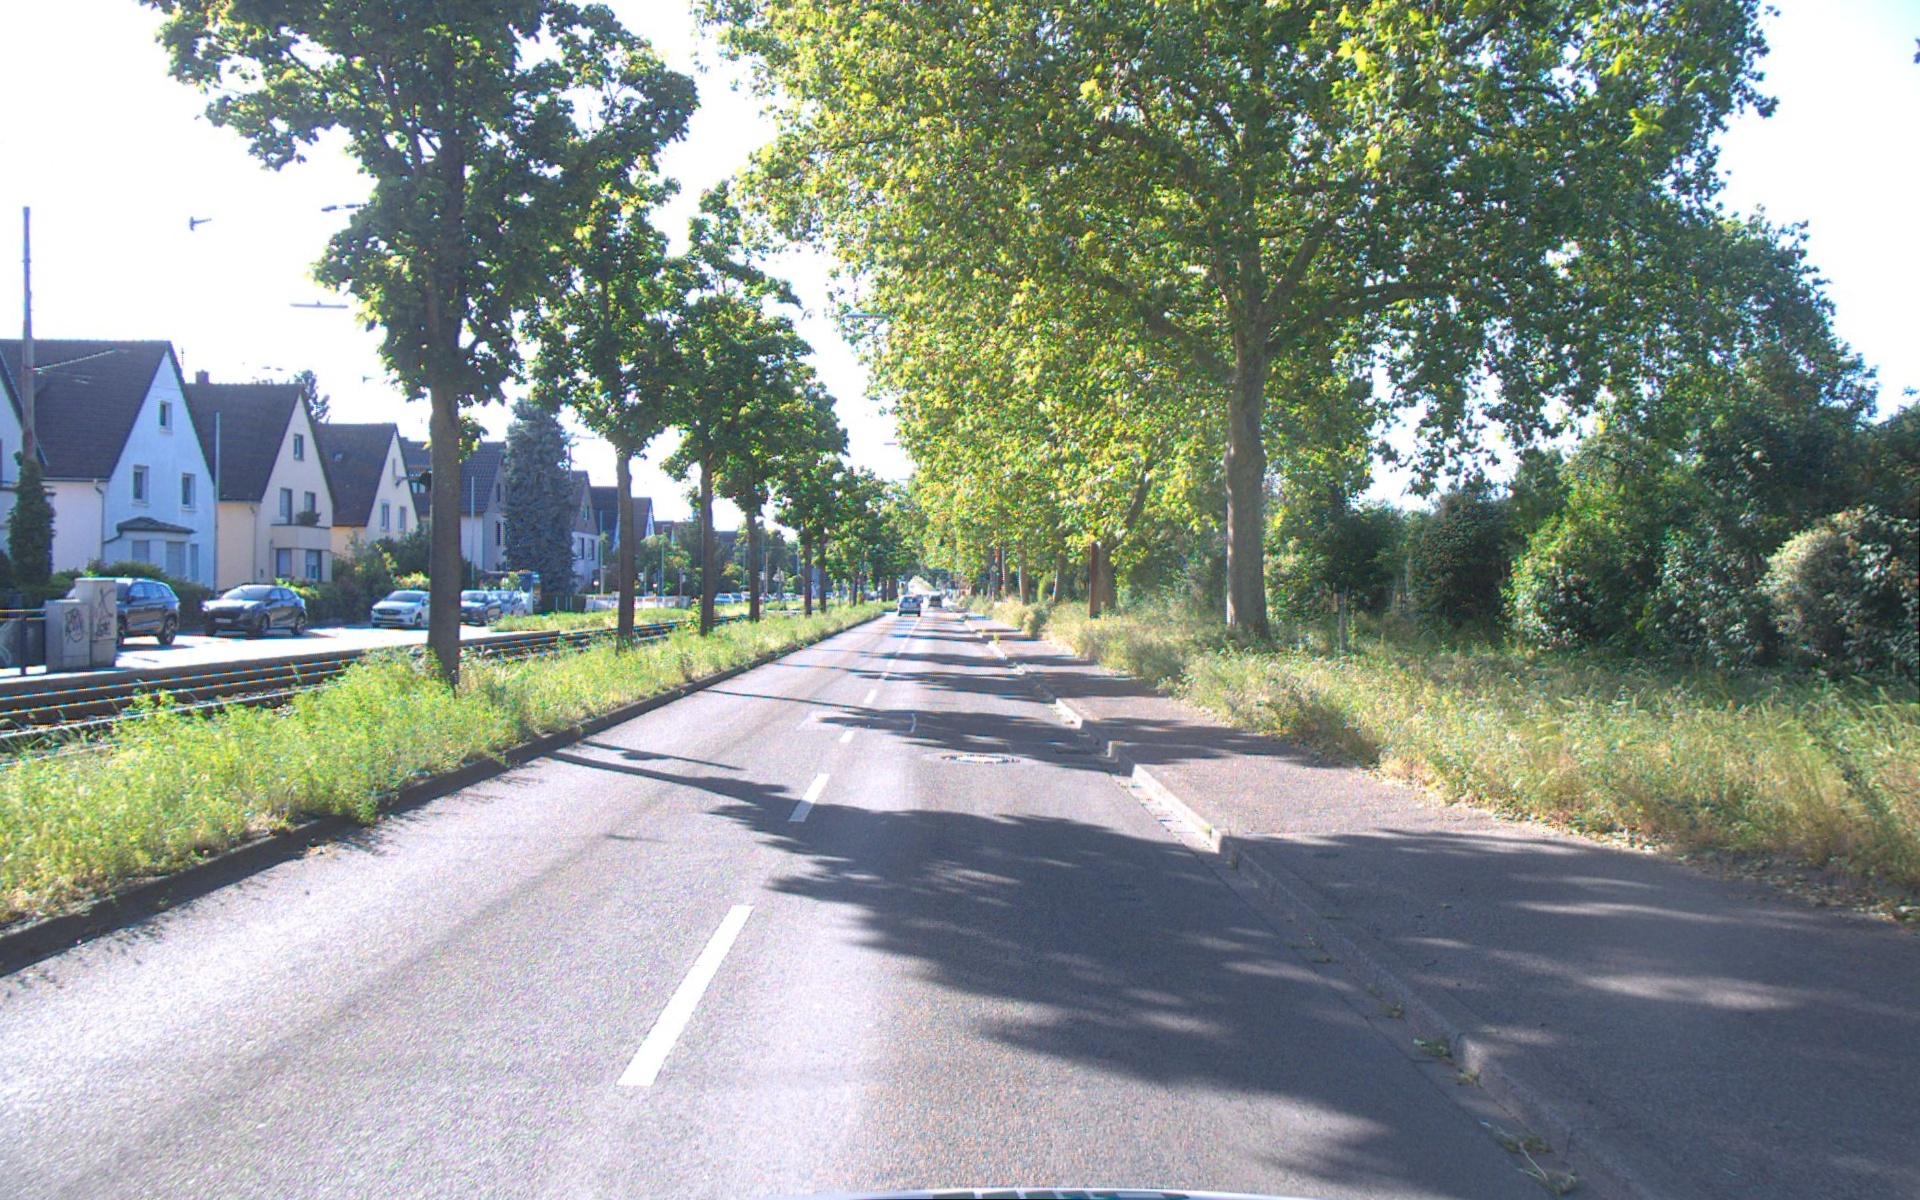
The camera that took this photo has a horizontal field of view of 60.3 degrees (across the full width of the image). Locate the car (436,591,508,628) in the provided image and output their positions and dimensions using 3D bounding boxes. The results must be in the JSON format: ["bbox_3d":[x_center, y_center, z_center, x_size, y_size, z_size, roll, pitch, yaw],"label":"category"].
[{"bbox_3d":[-21.799,0.413,74.078,1.953,1.475,4.127,4,0,-1],"label":"car"}]

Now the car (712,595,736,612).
[{"bbox_3d":[-23.181,0.338,162.618,1.822,1.569,4.226,2,0,-1],"label":"car"}]

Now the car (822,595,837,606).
[{"bbox_3d":[-20.496,0.115,259.606,1.953,1.631,4.472,2,0,-1],"label":"car"}]

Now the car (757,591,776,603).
[{"bbox_3d":[-23.689,-0.353,202.308,1.822,1.393,4.226,2,0,-1],"label":"car"}]

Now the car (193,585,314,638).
[{"bbox_3d":[-21.632,0.345,50.836,1.887,1.521,4.255,2,0,-1],"label":"car"}]

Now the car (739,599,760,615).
[{"bbox_3d":[-23.236,0.785,182.529,1.712,1.679,4.554,2,0,-1],"label":"car"}]

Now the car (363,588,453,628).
[{"bbox_3d":[-21.634,0.307,65.008,1.952,1.451,4.410,2,0,1],"label":"car"}]

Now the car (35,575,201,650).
[{"bbox_3d":[-21.092,0.306,41.659,1.953,1.743,4.390,2,0,-1],"label":"car"}]

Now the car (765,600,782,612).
[{"bbox_3d":[-24.869,0.784,220.750,1.822,1.438,4.157,2,0,-1],"label":"car"}]

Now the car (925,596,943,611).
[{"bbox_3d":[-2.970,0.377,190.038,1.953,1.631,4.472,2,0,-1],"label":"car"}]

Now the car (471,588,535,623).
[{"bbox_3d":[-21.758,0.249,78.860,1.907,1.580,4.055,2,0,-1],"label":"car"}]

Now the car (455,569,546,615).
[{"bbox_3d":[-27.704,-0.477,99.811,4.926,2.671,2.102,1,0,-1],"label":"car"}]

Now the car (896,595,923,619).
[{"bbox_3d":[-3.585,0.476,116.963,1.822,1.629,4.226,2,0,-1],"label":"car"}]

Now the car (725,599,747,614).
[{"bbox_3d":[-23.258,0.721,171.574,1.694,1.491,4.601,2,0,-1],"label":"car"}]
